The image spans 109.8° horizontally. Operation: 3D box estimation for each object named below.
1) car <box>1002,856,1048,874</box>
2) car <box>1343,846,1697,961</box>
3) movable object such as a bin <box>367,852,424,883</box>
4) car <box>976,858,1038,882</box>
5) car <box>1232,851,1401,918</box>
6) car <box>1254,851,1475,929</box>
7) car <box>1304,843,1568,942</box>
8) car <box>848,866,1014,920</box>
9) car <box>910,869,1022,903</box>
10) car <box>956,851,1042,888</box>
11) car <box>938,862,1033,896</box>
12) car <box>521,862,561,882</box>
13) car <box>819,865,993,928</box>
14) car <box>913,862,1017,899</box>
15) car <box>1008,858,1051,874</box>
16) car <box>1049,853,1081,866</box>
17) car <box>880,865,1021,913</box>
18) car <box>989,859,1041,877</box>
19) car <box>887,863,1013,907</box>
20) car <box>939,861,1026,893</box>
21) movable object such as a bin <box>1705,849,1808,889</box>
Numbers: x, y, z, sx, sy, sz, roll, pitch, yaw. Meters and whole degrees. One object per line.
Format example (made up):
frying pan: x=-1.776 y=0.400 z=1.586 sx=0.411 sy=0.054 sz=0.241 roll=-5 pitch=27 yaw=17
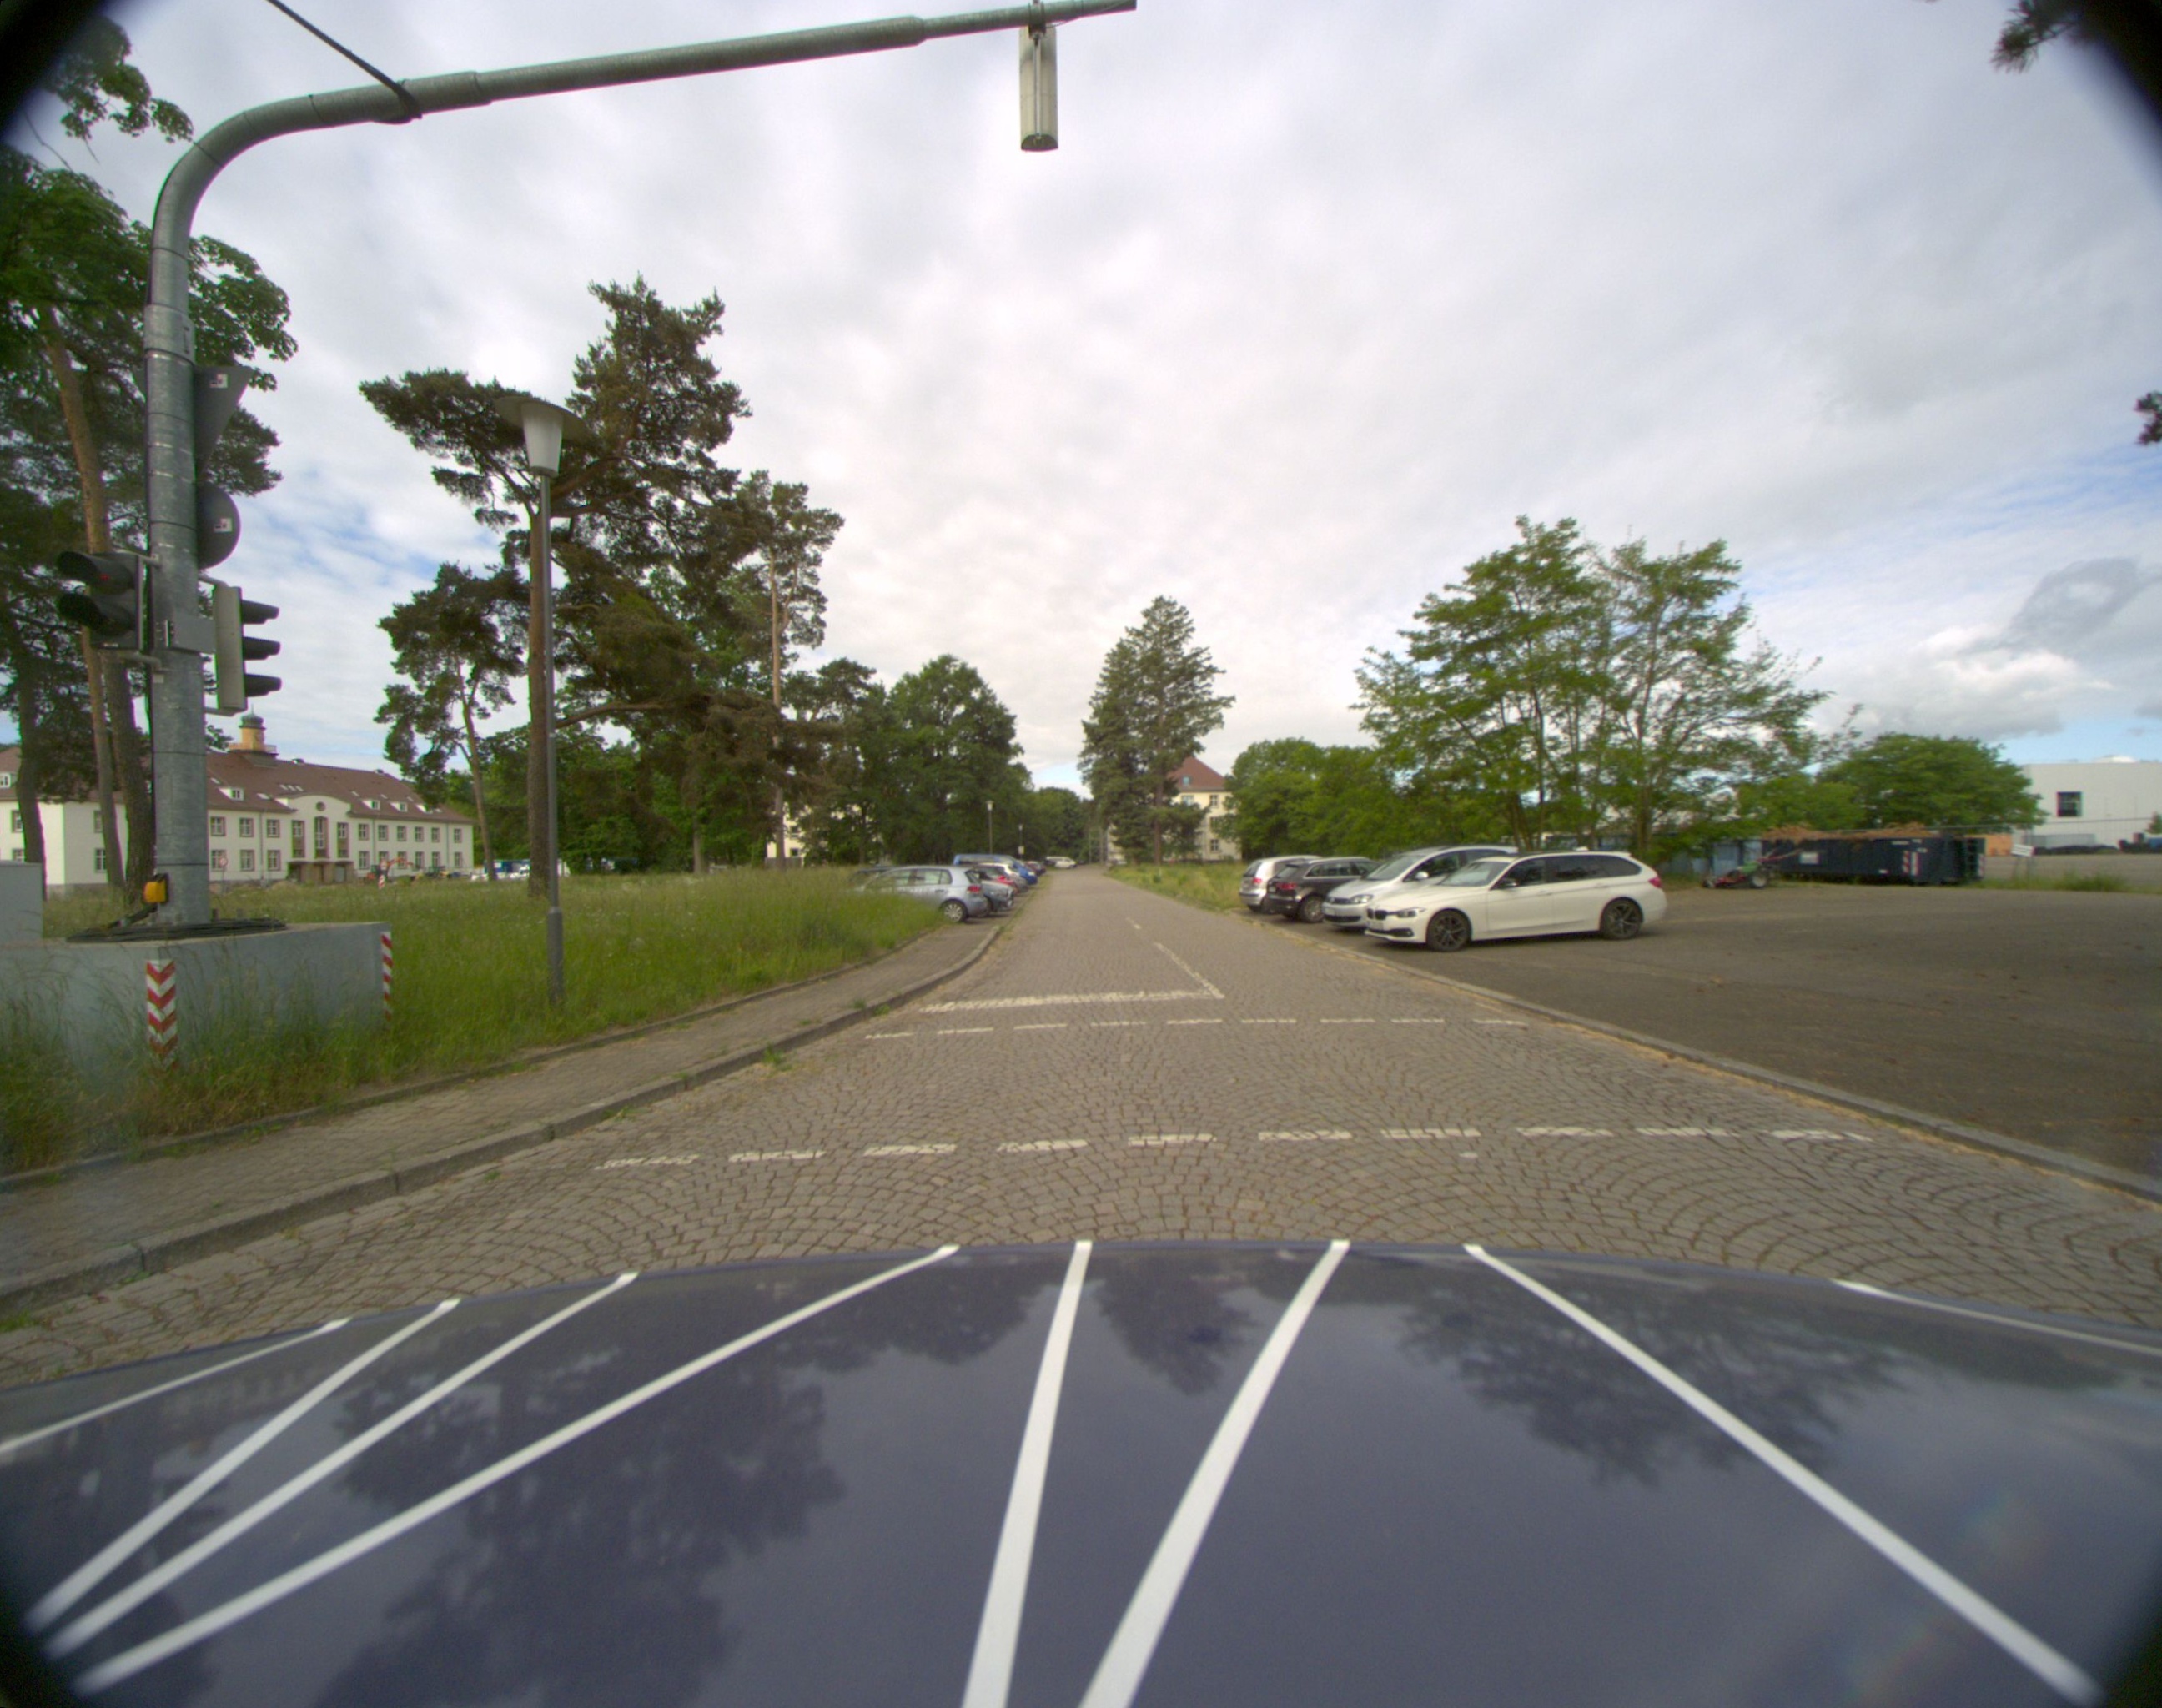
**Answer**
car: x=-5.343 y=1.053 z=72.588 sx=4.082 sy=1.685 sz=1.727 roll=0 pitch=0 yaw=6
car: x=7.049 y=0.759 z=12.519 sx=4.752 sy=1.479 sz=1.866 roll=-3 pitch=0 yaw=-3
movable object such as a bin: x=-89.971 y=1.747 z=99.771 sx=5.458 sy=3.748 sz=2.053 roll=-2 pitch=1 yaw=2
car: x=-5.018 y=1.089 z=51.928 sx=4.083 sy=1.584 sz=1.654 roll=0 pitch=0 yaw=1
car: x=6.245 y=0.792 z=20.372 sx=3.961 sy=1.462 sz=1.584 roll=-4 pitch=1 yaw=-4
car: x=6.494 y=0.790 z=17.702 sx=4.447 sy=1.416 sz=1.721 roll=-4 pitch=1 yaw=-3
car: x=6.929 y=0.707 z=15.069 sx=4.376 sy=1.588 sz=1.871 roll=-3 pitch=0 yaw=-7
car: x=-4.195 y=1.083 z=21.801 sx=4.440 sy=1.375 sz=1.663 roll=1 pitch=0 yaw=-3
car: x=-4.370 y=1.217 z=29.208 sx=4.051 sy=1.233 sz=1.549 roll=0 pitch=0 yaw=-1
car: x=-4.585 y=0.865 z=43.034 sx=4.602 sy=1.994 sz=1.912 roll=0 pitch=1 yaw=1
car: x=-4.297 y=1.118 z=34.703 sx=4.097 sy=1.507 sz=1.700 roll=0 pitch=0 yaw=1
car: x=-69.622 y=2.306 z=98.015 sx=1.862 sy=2.351 sz=4.446 roll=-2 pitch=1 yaw=-1
car: x=-4.313 y=1.039 z=19.170 sx=4.012 sy=1.420 sz=1.697 roll=1 pitch=0 yaw=-3
car: x=-4.817 y=1.082 z=31.866 sx=4.050 sy=1.507 sz=1.600 roll=0 pitch=0 yaw=1
car: x=-5.231 y=1.204 z=77.281 sx=4.092 sy=1.524 sz=1.727 roll=0 pitch=0 yaw=6
car: x=-2.662 y=0.877 z=126.010 sx=5.150 sy=2.137 sz=1.774 roll=0 pitch=0 yaw=-4
car: x=-4.141 y=1.110 z=24.548 sx=4.247 sy=1.465 sz=1.717 roll=0 pitch=0 yaw=1
car: x=-5.391 y=1.117 z=62.237 sx=4.084 sy=1.436 sz=1.726 roll=0 pitch=0 yaw=1
car: x=-4.593 y=1.080 z=27.016 sx=4.184 sy=1.473 sz=1.717 roll=0 pitch=0 yaw=-1
car: x=-4.837 y=1.126 z=37.614 sx=4.050 sy=1.507 sz=1.600 roll=0 pitch=0 yaw=1
movable object such as a bin: x=19.443 y=0.412 z=21.895 sx=2.268 sy=1.119 sz=0.858 roll=0 pitch=1 yaw=-3
